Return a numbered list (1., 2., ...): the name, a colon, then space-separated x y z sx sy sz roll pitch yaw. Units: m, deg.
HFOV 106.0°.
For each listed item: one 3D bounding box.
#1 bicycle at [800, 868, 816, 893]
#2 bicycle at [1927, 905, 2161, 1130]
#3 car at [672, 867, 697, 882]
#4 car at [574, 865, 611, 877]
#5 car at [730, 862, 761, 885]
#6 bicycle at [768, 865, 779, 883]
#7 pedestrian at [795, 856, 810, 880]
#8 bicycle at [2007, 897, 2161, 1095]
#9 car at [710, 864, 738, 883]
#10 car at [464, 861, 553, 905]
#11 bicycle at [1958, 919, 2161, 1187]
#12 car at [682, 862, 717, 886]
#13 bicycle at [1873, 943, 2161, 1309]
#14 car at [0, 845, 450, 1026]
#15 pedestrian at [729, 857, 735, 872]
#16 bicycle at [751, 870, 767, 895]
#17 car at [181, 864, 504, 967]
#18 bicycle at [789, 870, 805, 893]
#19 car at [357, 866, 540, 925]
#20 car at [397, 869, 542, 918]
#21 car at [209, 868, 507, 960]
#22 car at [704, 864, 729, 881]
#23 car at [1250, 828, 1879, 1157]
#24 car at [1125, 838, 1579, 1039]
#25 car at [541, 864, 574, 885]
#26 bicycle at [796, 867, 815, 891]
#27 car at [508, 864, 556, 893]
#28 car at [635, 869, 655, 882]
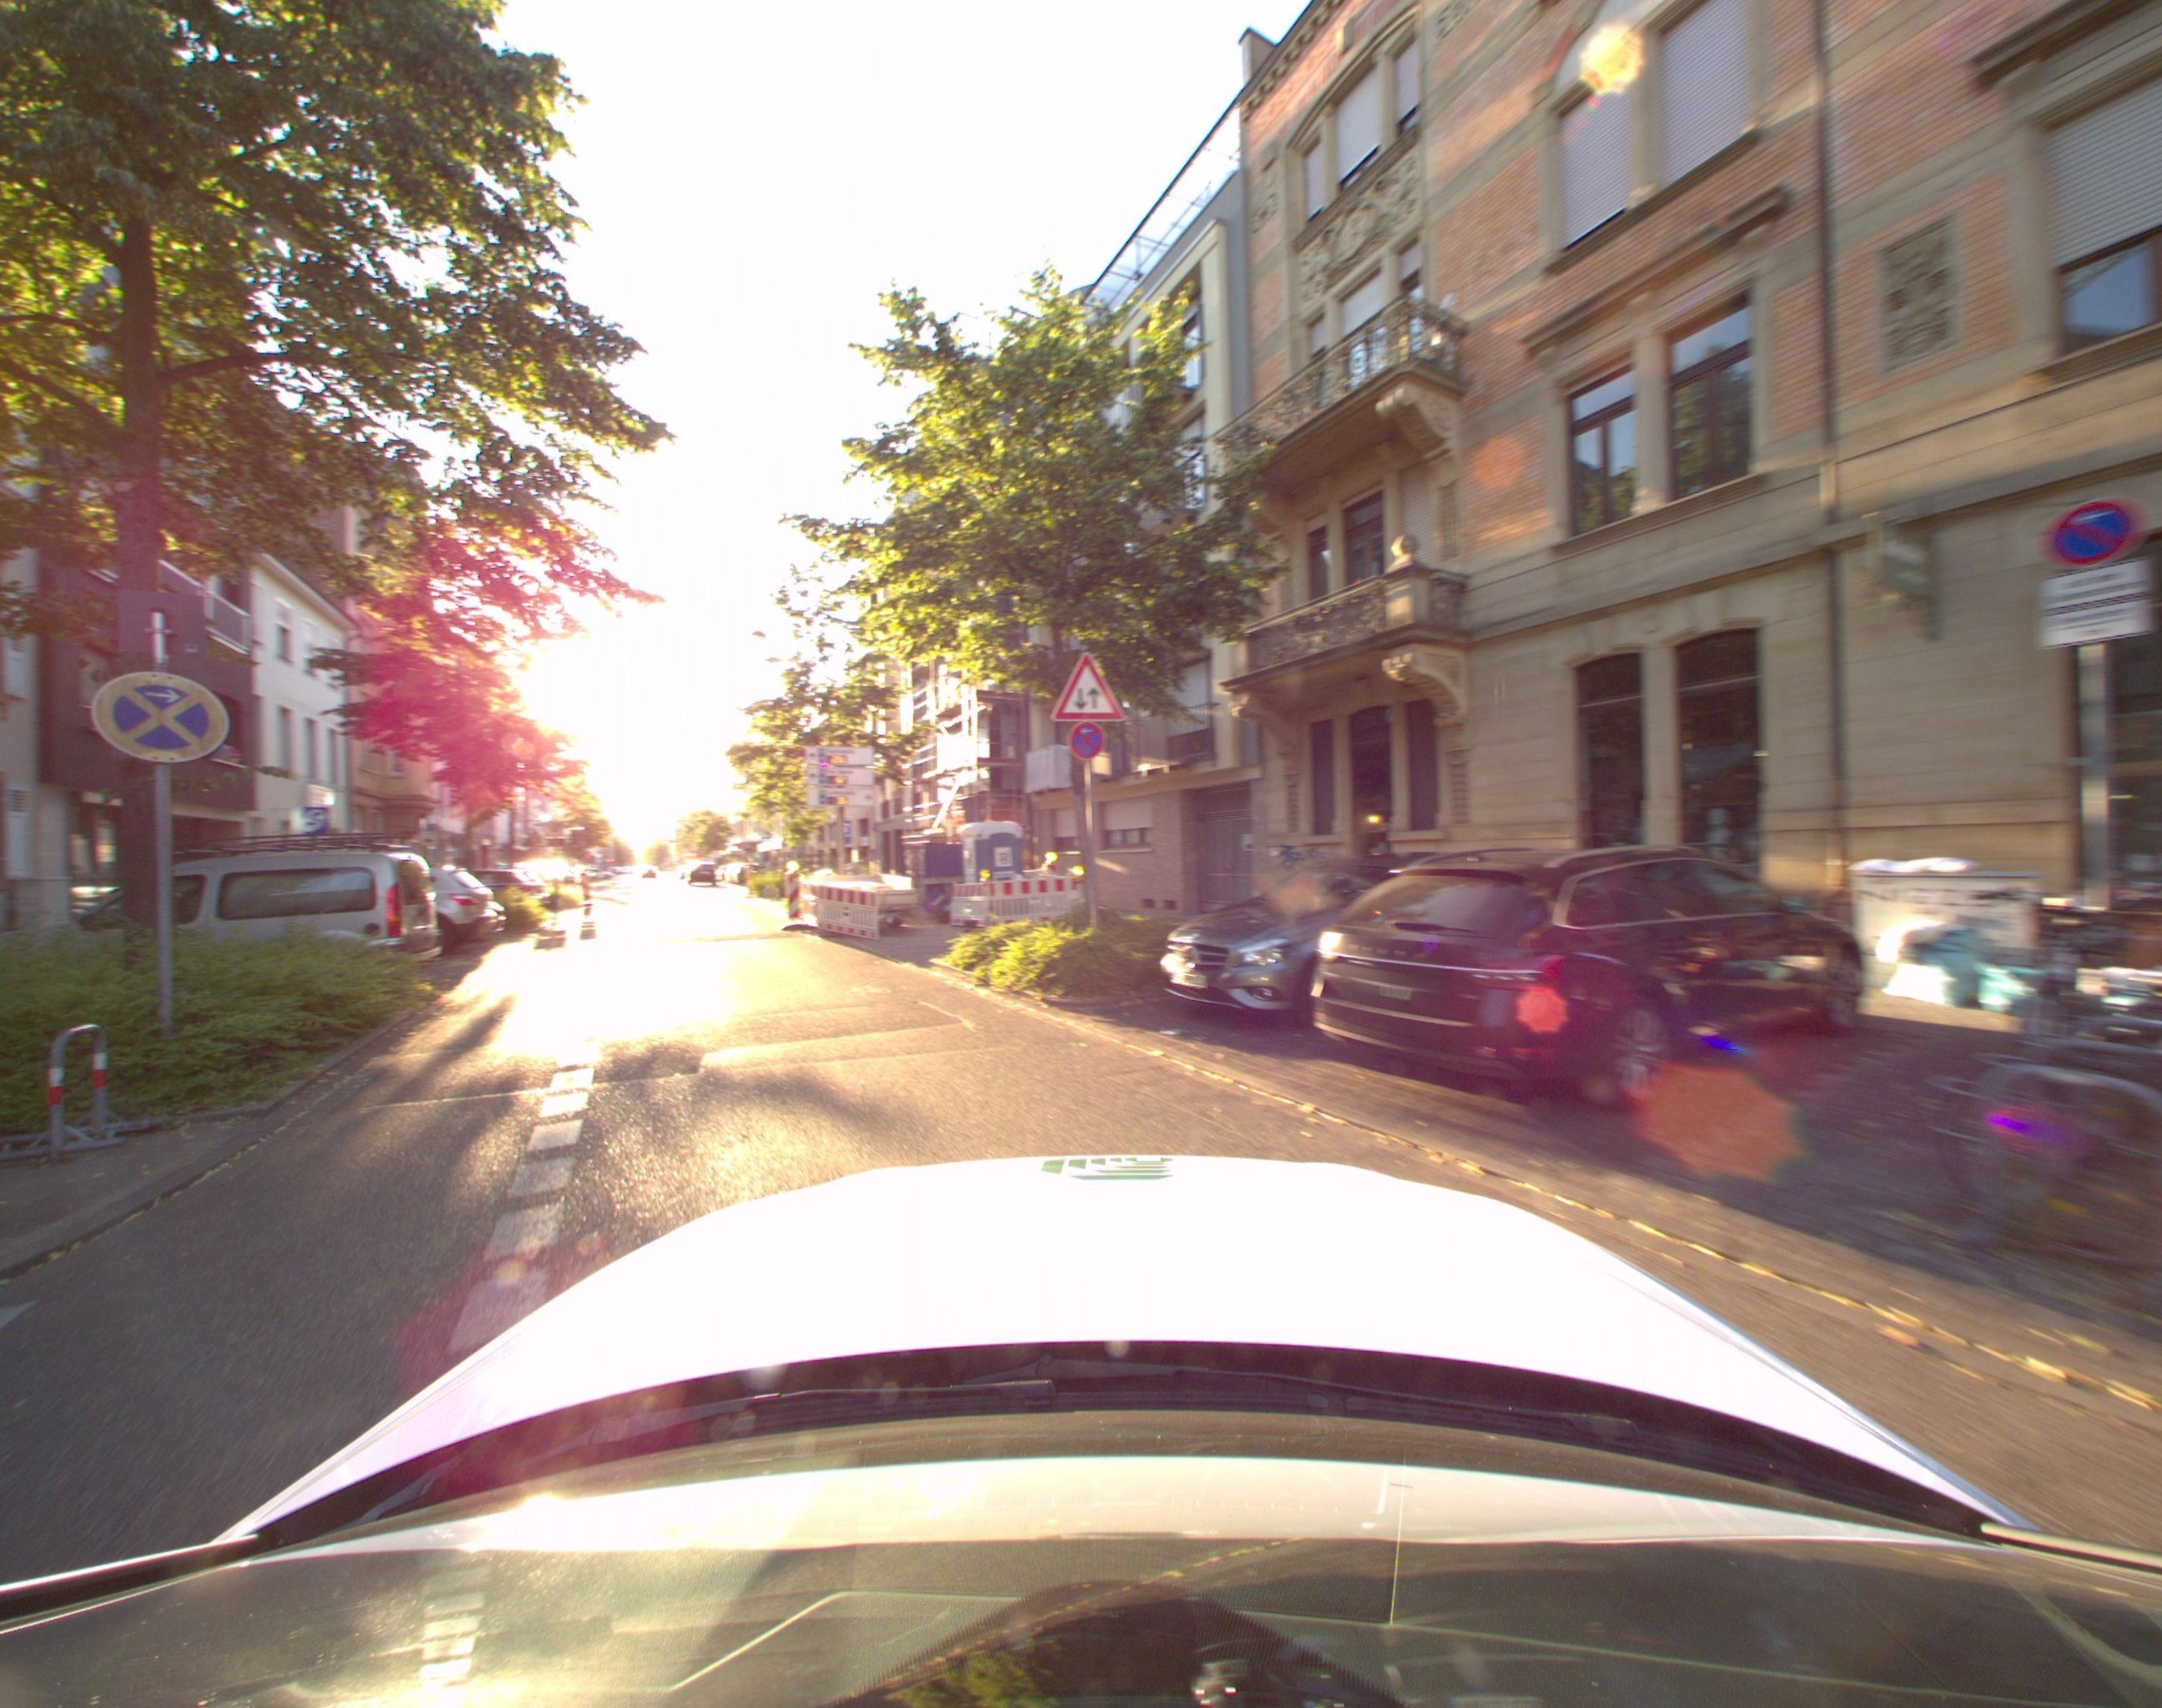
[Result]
1. bicycle: -13.341 1.293 39.727 0.384 1.189 1.507 0 -1 -32
2. bicycle: 5.618 0.817 3.885 0.641 1.013 2.090 -1 0 -30
3. car: -38.906 1.957 79.874 1.933 1.415 4.506 2 -2 -28
4. car: -61.941 2.160 103.283 1.613 1.484 3.645 0 0 31
5. car: -24.060 1.354 58.320 1.644 1.553 2.667 -2 0 -31
6. bicycle: -22.152 1.437 58.728 0.399 1.234 1.807 -2 0 -31
7. pedestrian: -19.749 0.988 57.704 0.815 1.646 0.600 -3 -1 -29
8. bicycle: 6.348 0.790 4.149 0.467 1.040 2.090 -1 0 -30
9. car: -28.161 1.506 64.203 1.643 1.424 3.722 -2 0 -29
10. car: -22.612 1.104 32.269 2.713 1.520 1.556 -3 2 -32
11. bicycle: 4.824 0.833 3.166 0.641 1.013 1.814 -1 0 -30
12. car: -27.247 1.431 58.097 2.007 1.655 4.630 1 -1 -28
13. bicycle: 3.748 0.901 2.481 0.572 1.047 1.816 -2 0 -26
14. car: -10.386 0.863 10.013 3.830 1.849 1.686 -1 0 -26
15. pedestrian: -42.531 1.263 99.263 0.691 1.721 0.711 -2 0 -23
16. bicycle: -14.425 1.255 36.520 0.384 1.100 1.508 -1 0 -32
17. car: -12.684 0.989 14.352 3.845 1.585 1.726 0 -1 -26
18. bicycle: -13.730 1.310 39.373 0.384 1.100 1.507 0 -1 -32
19. car: -18.162 1.136 23.644 3.916 1.517 1.840 -1 0 -28
20. car: -19.217 1.198 25.770 3.415 1.392 1.672 -1 0 -27
21. car: -14.257 1.111 16.448 4.236 1.516 1.744 -1 0 -32
22. car: -31.494 1.583 70.318 1.713 1.436 3.895 -2 0 -28
23. car: 3.635 0.658 5.936 4.554 1.511 1.893 -2 0 -29
24. car: 2.891 0.668 8.427 4.554 1.479 1.850 -2 0 -29
25. car: -43.064 1.639 67.082 1.838 1.556 5.089 -3 1 -28
26. bicycle: -12.990 1.161 38.372 0.384 1.100 1.506 -1 0 -36
27. car: -30.564 1.345 45.426 1.784 1.515 3.913 -1 0 -28
28. car: -47.736 2.351 89.099 1.895 1.415 4.285 0 -1 -29
